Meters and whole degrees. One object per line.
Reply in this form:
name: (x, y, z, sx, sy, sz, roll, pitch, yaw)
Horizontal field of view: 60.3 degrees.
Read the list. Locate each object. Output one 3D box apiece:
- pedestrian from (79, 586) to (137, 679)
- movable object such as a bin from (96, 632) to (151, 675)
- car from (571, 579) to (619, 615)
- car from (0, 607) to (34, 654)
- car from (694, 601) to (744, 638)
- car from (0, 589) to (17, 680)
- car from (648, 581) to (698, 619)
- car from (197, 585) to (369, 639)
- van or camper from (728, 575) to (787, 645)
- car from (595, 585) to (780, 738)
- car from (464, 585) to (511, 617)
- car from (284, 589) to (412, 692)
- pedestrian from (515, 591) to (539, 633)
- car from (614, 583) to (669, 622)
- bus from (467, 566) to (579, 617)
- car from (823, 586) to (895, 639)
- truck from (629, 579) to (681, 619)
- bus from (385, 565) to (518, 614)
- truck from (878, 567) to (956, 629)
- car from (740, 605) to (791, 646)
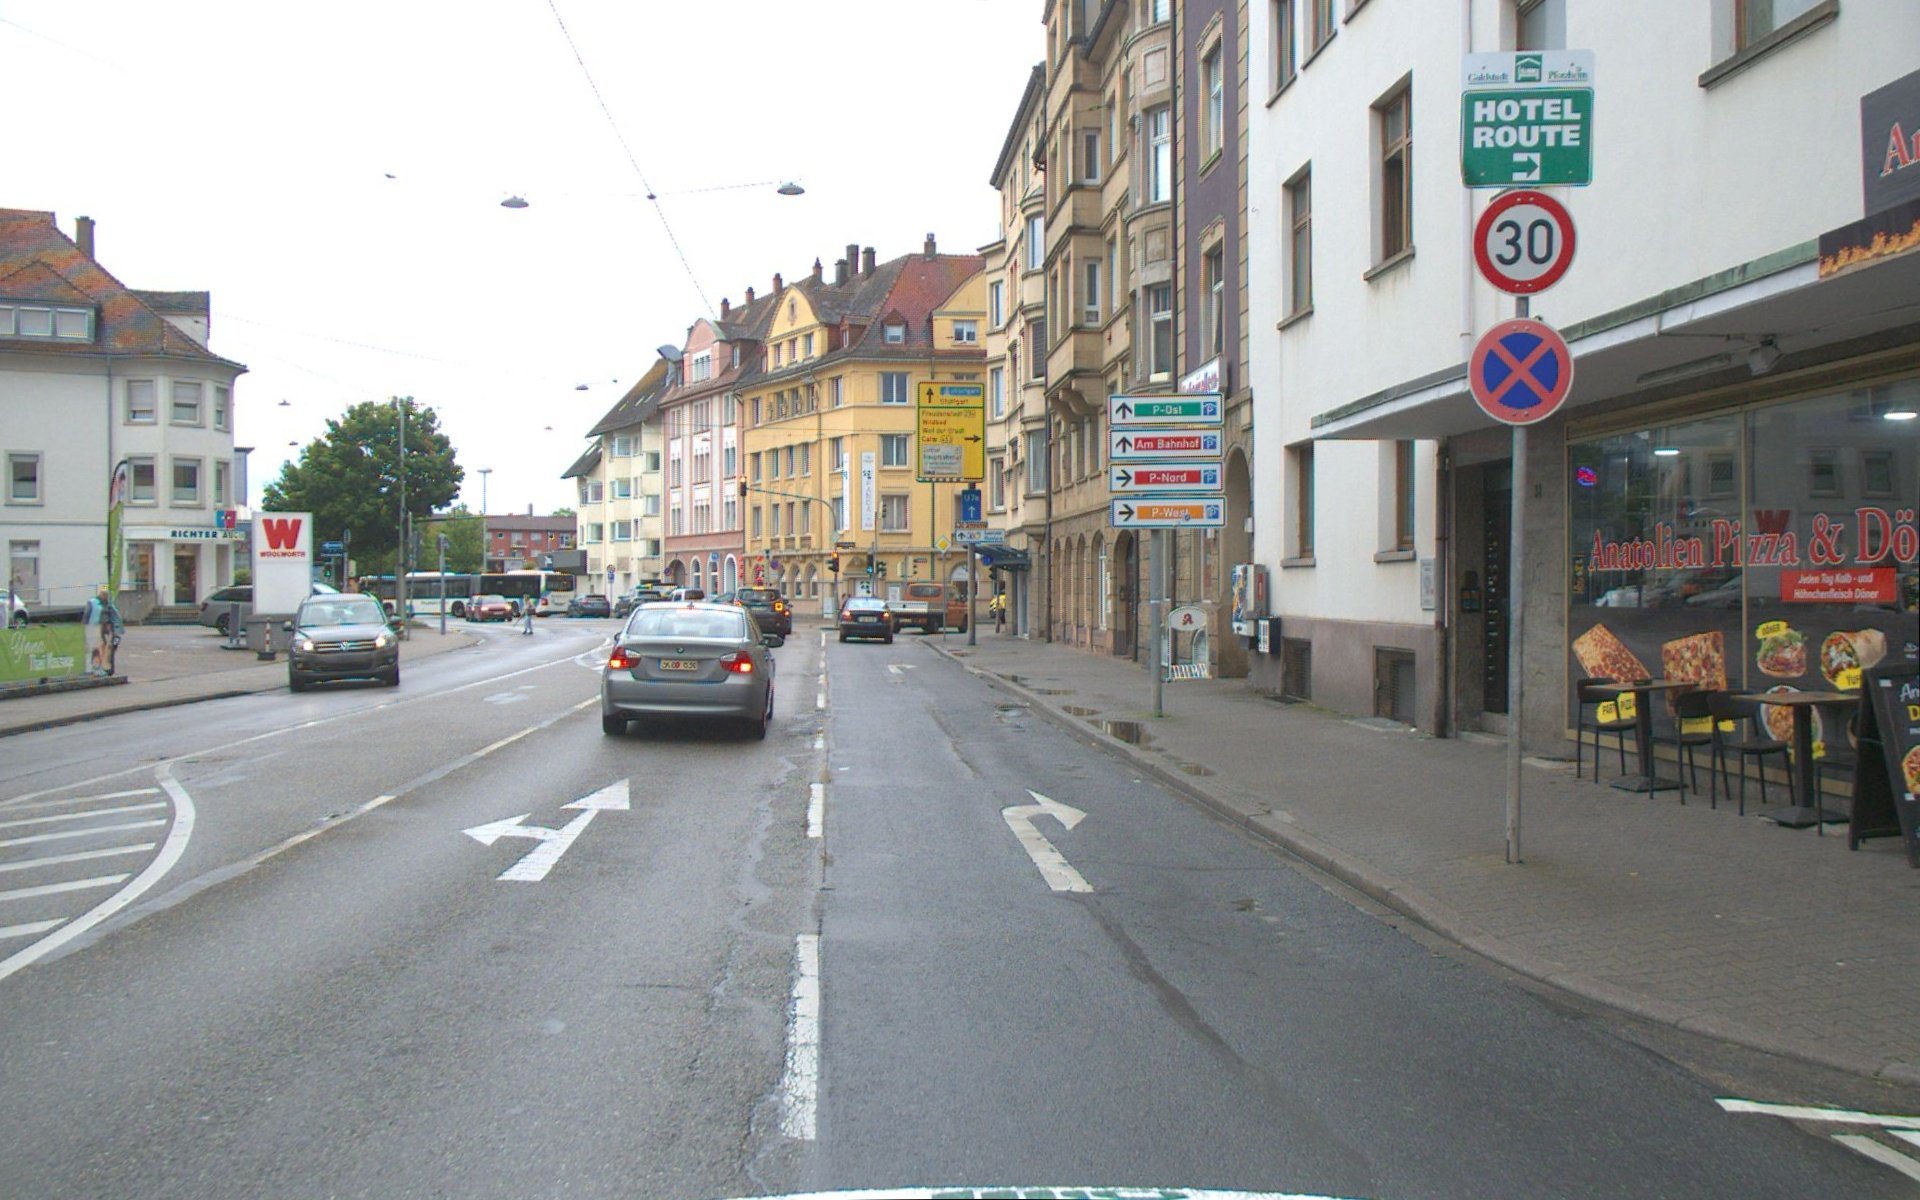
pedestrian: (-16.042, 0.603, 31.142, 0.740, 1.715, 0.744, 0, 0, 40)
movable object such as a bin: (-16.082, 1.019, 31.792, 0.740, 0.802, 0.729, -1, -1, 40)
car: (-21.667, -0.187, 98.087, 1.969, 2.049, 3.966, 0, 0, -26)
car: (-32.085, 0.966, 53.610, 1.544, 1.526, 3.762, 0, -3, 10)
car: (-12.520, 1.010, 86.136, 1.952, 1.847, 4.000, -1, 0, 1)
car: (-16.594, 0.576, 24.904, 1.952, 1.464, 4.654, 0, 0, 3)
car: (-17.666, -0.034, 101.657, 1.743, 2.218, 3.960, 3, -1, -30)
car: (-19.910, 0.341, 48.776, 4.365, 1.553, 1.881, 0, 0, -10)
van or camper: (-6.586, 0.294, 53.567, 1.820, 2.184, 4.135, 0, 0, -8)
car: (-2.955, 0.605, 18.698, 1.764, 1.489, 4.365, 2, 0, -6)
car: (-26.011, 0.056, 90.996, 1.822, 1.713, 3.966, 1, 0, -26)
car: (-10.827, 0.653, 29.507, 1.918, 1.688, 4.037, 0, 0, -18)
pedestrian: (-16.179, 0.462, 61.846, 0.751, 1.556, 0.504, 2, -1, -26)
car: (-17.072, 0.106, 88.507, 1.969, 2.049, 3.967, 0, 0, -26)
bus: (-28.656, -0.562, 108.137, 8.987, 3.159, 2.898, 0, 1, 44)
car: (-3.223, 0.397, 52.219, 1.767, 1.590, 3.989, 0, -1, -11)
truck: (-19.812, -0.086, 107.273, 2.005, 2.431, 4.194, 3, -1, -30)
bus: (-34.438, -0.704, 111.990, 8.662, 3.159, 2.918, 0, 1, 22)
truck: (-1.616, -0.100, 64.057, 2.177, 2.289, 5.067, 1, 0, 8)
car: (-7.135, 0.895, 60.458, 1.769, 1.430, 4.675, 0, 0, -8)
